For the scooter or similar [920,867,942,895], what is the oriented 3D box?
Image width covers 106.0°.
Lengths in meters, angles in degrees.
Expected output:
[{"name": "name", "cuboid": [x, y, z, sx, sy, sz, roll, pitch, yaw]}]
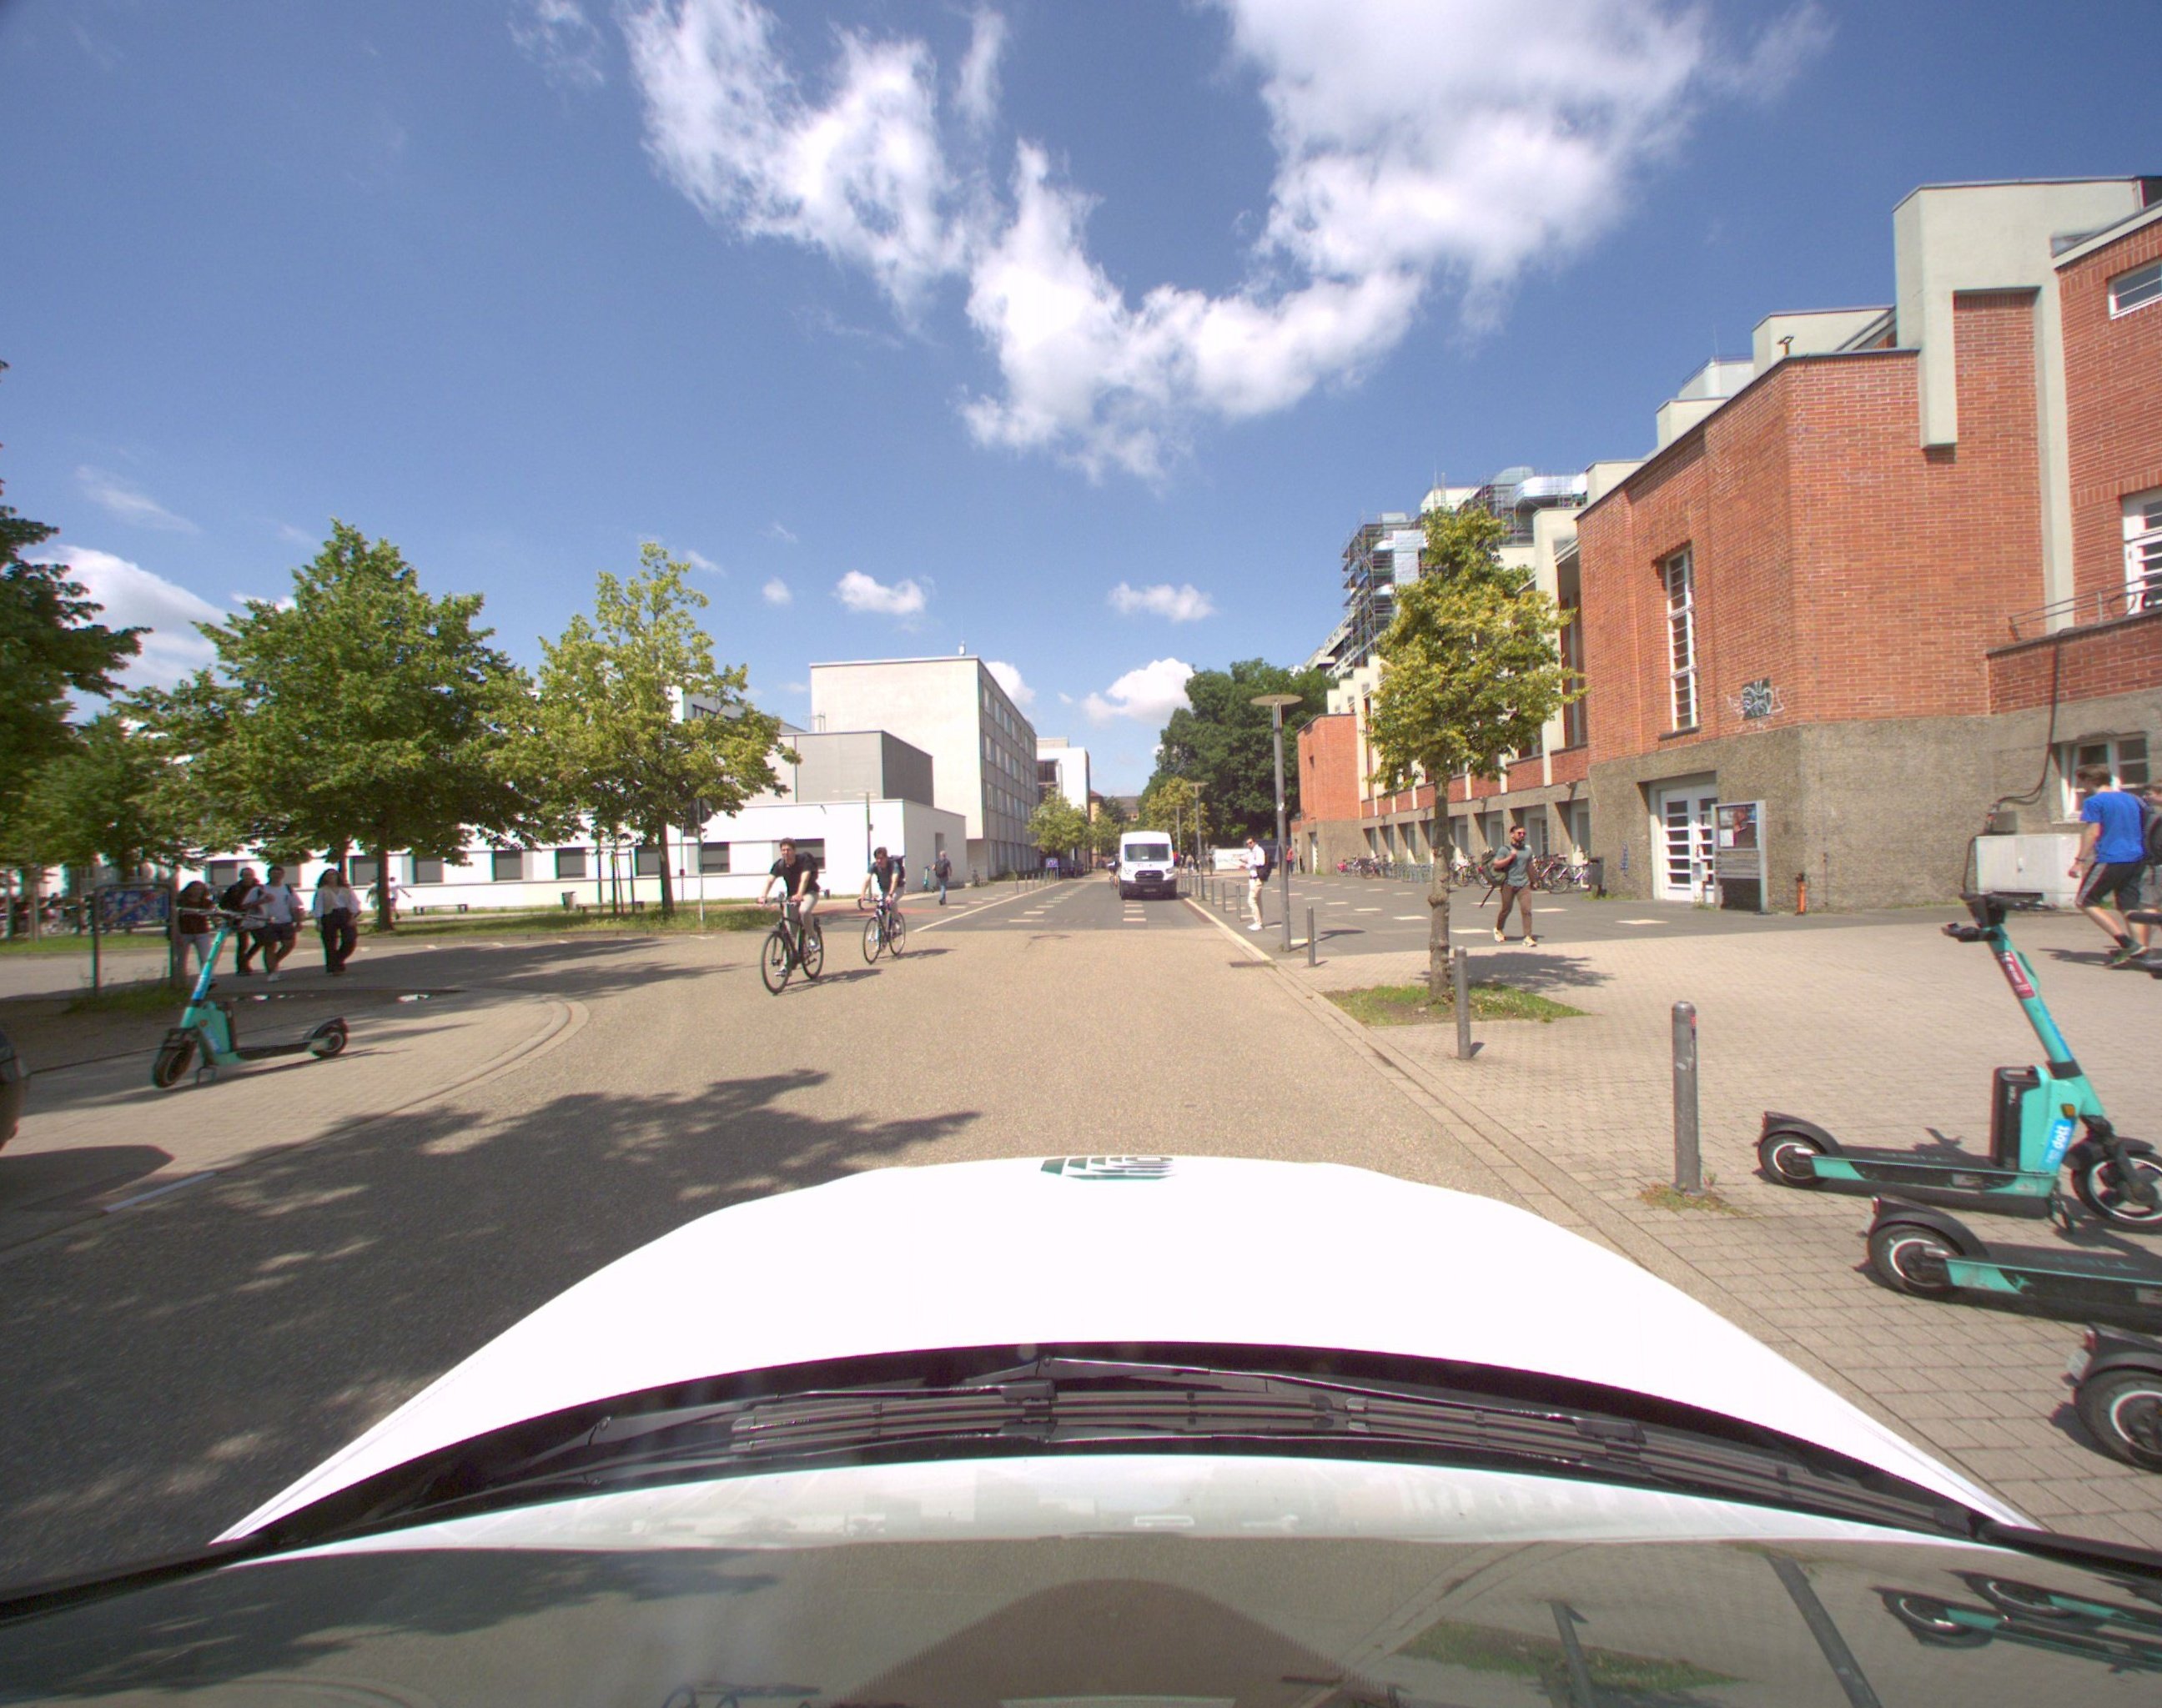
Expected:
[{"name": "scooter or similar", "cuboid": [-6.992, 1.254, 37.964, 0.374, 1.216, 1.211, -3, -1, 20]}]

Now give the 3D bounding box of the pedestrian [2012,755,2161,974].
[{"name": "pedestrian", "cuboid": [9.560, 0.074, 7.497, 0.702, 1.891, 0.990, -5, 0, -11]}]

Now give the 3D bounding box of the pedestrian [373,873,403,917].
[{"name": "pedestrian", "cuboid": [-28.235, 1.680, 33.187, 0.690, 1.749, 0.637, -1, -1, 4]}]

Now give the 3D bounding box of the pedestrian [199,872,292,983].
[{"name": "pedestrian", "cuboid": [-14.105, 1.207, 13.755, 0.843, 1.750, 0.860, -2, 1, 32]}]

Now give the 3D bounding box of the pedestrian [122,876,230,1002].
[{"name": "pedestrian", "cuboid": [-13.252, 1.204, 11.937, 0.843, 1.708, 0.860, -2, 1, 32]}]

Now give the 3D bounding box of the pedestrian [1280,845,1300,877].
[{"name": "pedestrian", "cuboid": [12.555, 0.427, 48.965, 0.848, 1.860, 1.116, -2, -1, 1]}]

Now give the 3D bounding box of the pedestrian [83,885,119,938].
[{"name": "pedestrian", "cuboid": [-38.179, 2.218, 31.739, 0.656, 2.014, 0.611, -1, -1, 3]}]

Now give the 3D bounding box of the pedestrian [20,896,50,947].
[{"name": "pedestrian", "cuboid": [-42.263, 2.712, 32.913, 0.614, 2.014, 0.653, 0, -1, -40]}]

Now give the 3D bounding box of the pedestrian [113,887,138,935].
[{"name": "pedestrian", "cuboid": [-41.181, 2.463, 35.104, 0.614, 2.014, 0.653, 0, -1, -40]}]

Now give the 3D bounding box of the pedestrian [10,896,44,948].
[{"name": "pedestrian", "cuboid": [-41.791, 2.683, 32.285, 0.694, 2.014, 0.675, 0, -1, -40]}]

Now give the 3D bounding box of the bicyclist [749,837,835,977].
[{"name": "bicyclist", "cuboid": [-3.513, 0.622, 9.971, 0.641, 1.601, 0.909, -3, -1, 1]}]

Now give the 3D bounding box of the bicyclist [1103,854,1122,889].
[{"name": "bicyclist", "cuboid": [1.587, 0.887, 41.084, 0.713, 1.662, 1.098, -5, -2, 9]}]

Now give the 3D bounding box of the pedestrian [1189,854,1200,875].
[{"name": "pedestrian", "cuboid": [10.189, 0.964, 73.170, 0.786, 1.860, 1.027, -2, -1, 5]}]

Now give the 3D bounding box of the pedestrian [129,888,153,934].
[{"name": "pedestrian", "cuboid": [-42.540, 2.568, 36.852, 0.614, 2.014, 0.653, 0, -1, -40]}]

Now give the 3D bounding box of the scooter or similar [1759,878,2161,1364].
[{"name": "scooter or similar", "cuboid": [2.966, 0.729, 2.513, 1.248, 1.265, 0.655, -3, -1, 35]}]

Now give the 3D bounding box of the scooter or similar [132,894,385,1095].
[{"name": "scooter or similar", "cuboid": [-6.221, 1.006, 6.238, 0.500, 1.299, 1.221, -3, 0, 15]}]

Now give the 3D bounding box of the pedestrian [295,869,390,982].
[{"name": "pedestrian", "cuboid": [-11.955, 1.121, 13.194, 0.843, 1.708, 0.860, -2, 1, 31]}]

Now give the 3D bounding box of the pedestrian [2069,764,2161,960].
[{"name": "pedestrian", "cuboid": [10.306, 0.054, 7.653, 0.701, 1.803, 0.990, -5, 0, -10]}]

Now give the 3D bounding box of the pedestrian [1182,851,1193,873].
[{"name": "pedestrian", "cuboid": [9.092, 0.672, 69.480, 0.786, 1.860, 1.245, -2, -1, 5]}]

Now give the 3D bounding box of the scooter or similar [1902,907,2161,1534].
[{"name": "scooter or similar", "cuboid": [2.748, 0.769, 1.749, 1.248, 1.265, 0.655, -3, -1, 35]}]

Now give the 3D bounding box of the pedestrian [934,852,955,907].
[{"name": "pedestrian", "cuboid": [-4.595, 0.850, 27.433, 0.666, 1.785, 0.982, -1, -2, -10]}]

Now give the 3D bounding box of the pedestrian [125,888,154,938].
[{"name": "pedestrian", "cuboid": [-39.081, 2.432, 33.816, 0.694, 2.014, 0.675, 0, -1, -40]}]

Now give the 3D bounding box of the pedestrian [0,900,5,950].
[{"name": "pedestrian", "cuboid": [-44.717, 2.926, 33.362, 0.614, 2.014, 0.653, 0, -1, -40]}]

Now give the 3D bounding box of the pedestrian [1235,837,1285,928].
[{"name": "pedestrian", "cuboid": [3.529, 0.548, 16.130, 0.699, 1.694, 0.963, -5, -1, 4]}]

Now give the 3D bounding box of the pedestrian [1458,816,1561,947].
[{"name": "pedestrian", "cuboid": [6.099, 0.377, 11.668, 0.849, 1.732, 1.162, -4, -1, 6]}]

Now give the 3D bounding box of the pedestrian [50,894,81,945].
[{"name": "pedestrian", "cuboid": [-41.602, 2.661, 33.369, 0.694, 2.014, 0.675, 0, -1, -40]}]

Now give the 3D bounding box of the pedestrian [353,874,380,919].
[{"name": "pedestrian", "cuboid": [-28.427, 1.690, 32.418, 0.549, 1.764, 0.587, -1, -1, 4]}]

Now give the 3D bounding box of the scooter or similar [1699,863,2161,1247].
[{"name": "scooter or similar", "cuboid": [3.339, 0.698, 3.309, 1.248, 1.265, 0.644, -3, -1, 35]}]

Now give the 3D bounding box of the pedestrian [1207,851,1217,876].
[{"name": "pedestrian", "cuboid": [9.819, 0.686, 60.981, 0.574, 1.860, 0.570, -2, -1, 1]}]

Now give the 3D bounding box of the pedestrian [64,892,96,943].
[{"name": "pedestrian", "cuboid": [-40.221, 2.539, 32.718, 0.694, 2.014, 0.675, 0, -1, -40]}]

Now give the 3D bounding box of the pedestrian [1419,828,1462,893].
[{"name": "pedestrian", "cuboid": [10.729, 0.198, 24.352, 0.786, 1.860, 1.117, -2, -1, 4]}]

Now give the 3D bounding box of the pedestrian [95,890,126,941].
[{"name": "pedestrian", "cuboid": [-39.623, 2.483, 33.255, 0.694, 2.014, 0.675, 0, -1, -40]}]

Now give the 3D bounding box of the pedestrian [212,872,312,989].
[{"name": "pedestrian", "cuboid": [-12.913, 1.170, 12.850, 0.843, 1.708, 0.860, -2, 1, 31]}]

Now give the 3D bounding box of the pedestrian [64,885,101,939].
[{"name": "pedestrian", "cuboid": [-38.049, 2.207, 31.029, 0.656, 2.014, 0.611, -1, -1, 3]}]

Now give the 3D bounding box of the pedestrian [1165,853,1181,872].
[{"name": "pedestrian", "cuboid": [10.828, 0.991, 95.829, 1.494, 1.996, 1.647, -5, 0, 1]}]

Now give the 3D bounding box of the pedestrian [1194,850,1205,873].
[{"name": "pedestrian", "cuboid": [10.020, 0.621, 69.062, 0.786, 1.860, 1.027, -2, -1, 5]}]
